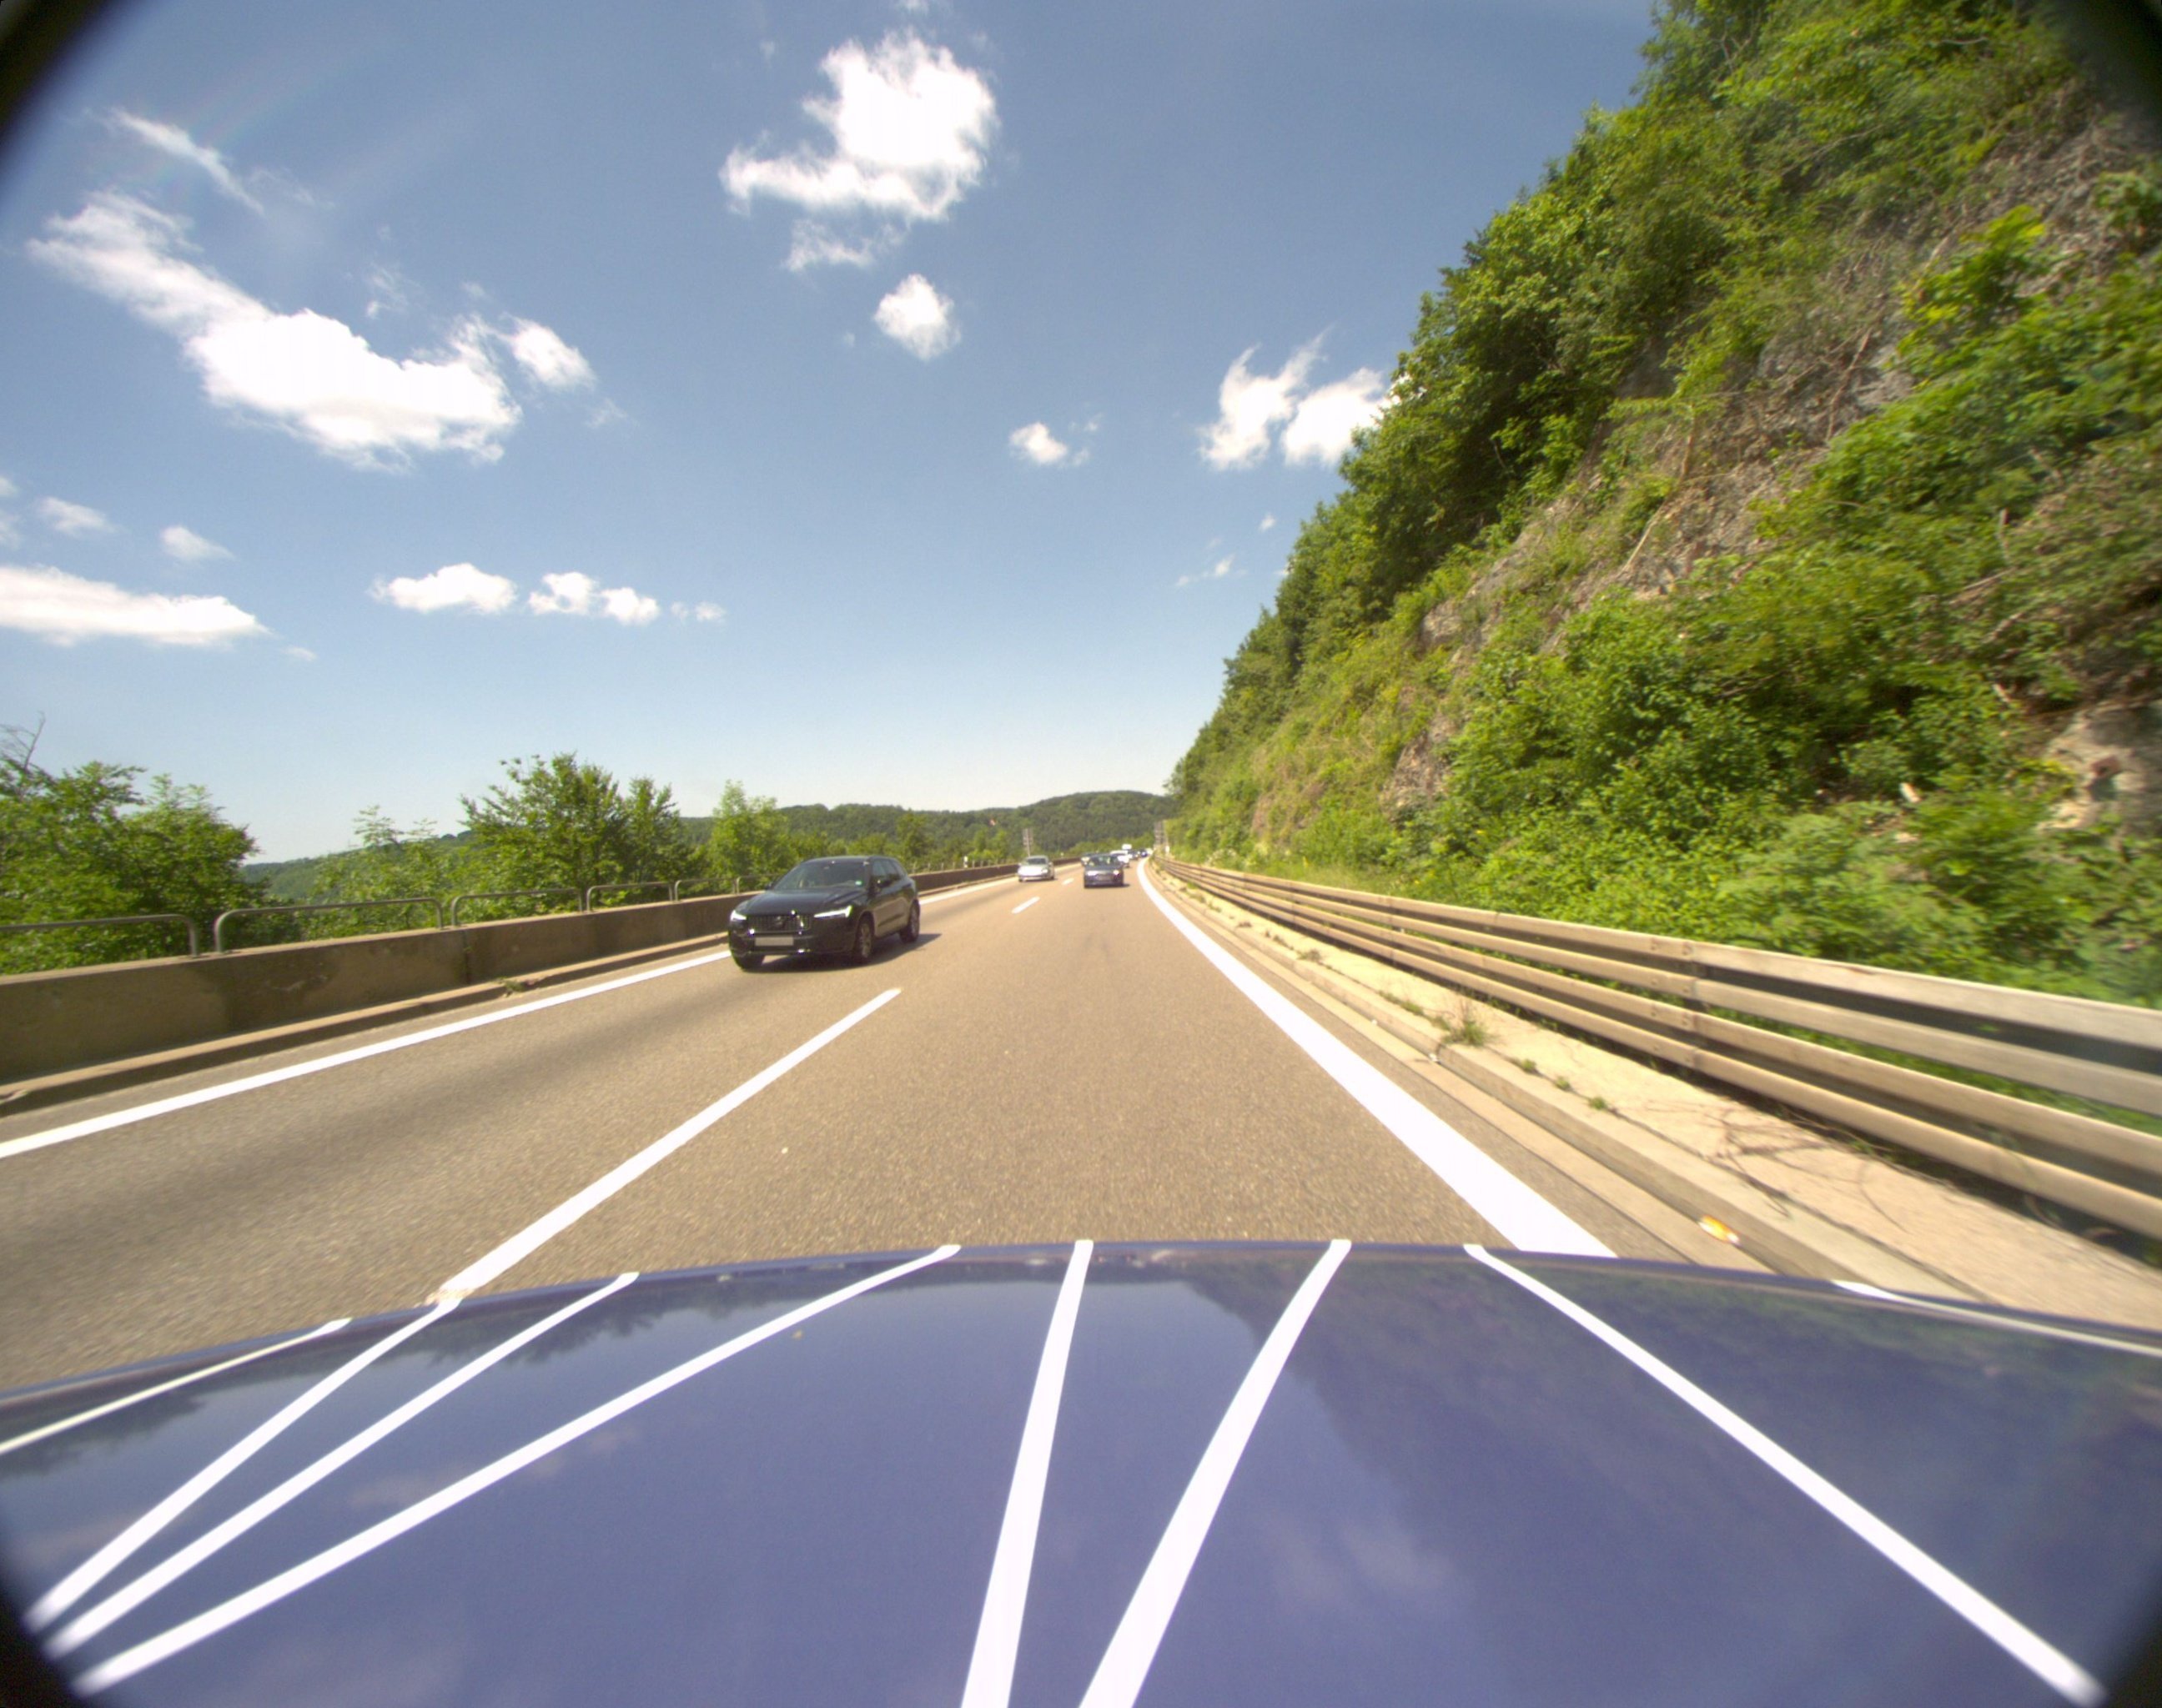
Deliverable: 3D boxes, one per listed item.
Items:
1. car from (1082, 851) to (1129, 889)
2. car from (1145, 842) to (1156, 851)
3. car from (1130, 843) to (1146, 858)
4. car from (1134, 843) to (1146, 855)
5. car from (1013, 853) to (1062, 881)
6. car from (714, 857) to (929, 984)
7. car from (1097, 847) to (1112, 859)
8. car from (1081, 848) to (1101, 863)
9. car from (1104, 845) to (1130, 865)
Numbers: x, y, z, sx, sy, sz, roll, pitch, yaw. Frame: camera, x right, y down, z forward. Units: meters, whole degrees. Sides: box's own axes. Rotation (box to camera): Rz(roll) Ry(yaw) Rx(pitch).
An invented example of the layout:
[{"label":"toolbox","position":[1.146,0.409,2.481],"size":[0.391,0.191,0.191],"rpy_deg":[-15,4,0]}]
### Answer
[{"label":"car","position":[1.123,0.642,32.931],"size":[1.668,1.415,4.045],"rpy_deg":[-1,2,7]},{"label":"car","position":[16.520,-1.796,179.892],"size":[1.997,2.002,4.003],"rpy_deg":[-3,1,11]},{"label":"car","position":[7.925,-0.513,105.672],"size":[1.998,2.002,4.000],"rpy_deg":[-2,1,3]},{"label":"car","position":[10.232,-0.807,132.372],"size":[1.998,2.002,4.001],"rpy_deg":[-2,1,5]},{"label":"car","position":[-2.472,0.730,44.259],"size":[1.971,1.370,4.295],"rpy_deg":[-2,1,8]},{"label":"car","position":[-4.009,0.921,12.686],"size":[1.839,1.624,4.662],"rpy_deg":[-2,1,1]},{"label":"car","position":[3.378,-0.122,108.394],"size":[1.775,1.565,4.001],"rpy_deg":[-2,1,6]},{"label":"car","position":[1.167,0.125,87.638],"size":[1.874,1.565,4.002],"rpy_deg":[-2,1,7]},{"label":"car","position":[3.015,0.039,64.503],"size":[1.998,1.543,4.000],"rpy_deg":[-2,1,1]}]
